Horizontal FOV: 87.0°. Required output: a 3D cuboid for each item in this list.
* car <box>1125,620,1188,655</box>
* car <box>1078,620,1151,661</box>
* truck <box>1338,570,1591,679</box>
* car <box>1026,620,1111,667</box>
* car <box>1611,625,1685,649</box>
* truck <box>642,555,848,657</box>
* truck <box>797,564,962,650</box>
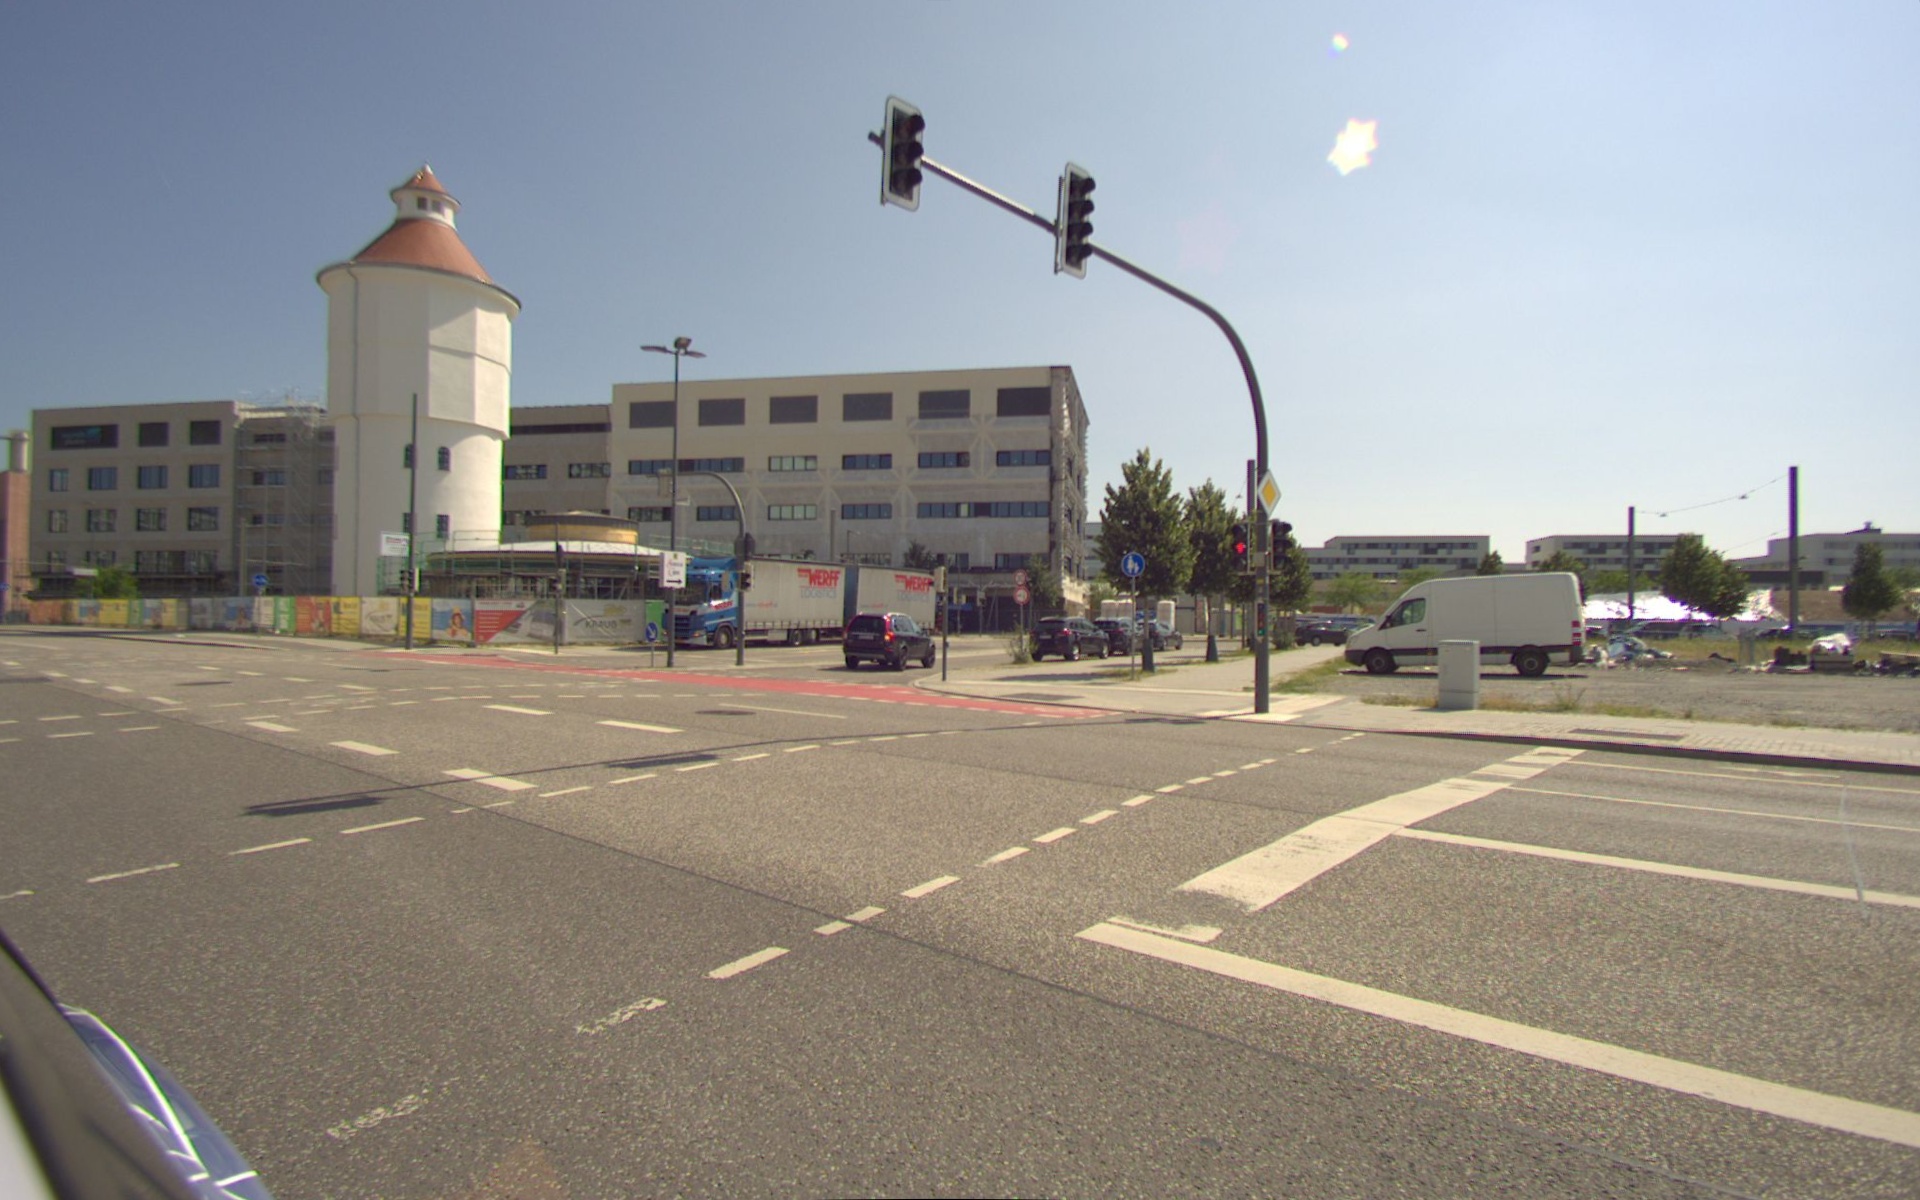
[{"bbox_3d":[9.558,1.796,49.019,1.872,1.542,3.864,-3,-2,29],"label":"car"},{"bbox_3d":[6.723,1.707,43.702,1.873,1.652,3.961,0,-1,29],"label":"car"},{"bbox_3d":[13.521,0.616,27.291,5.927,2.675,2.149,0,-1,33],"label":"truck"},{"bbox_3d":[4.219,1.614,38.881,1.873,1.652,3.961,0,-1,29],"label":"car"},{"bbox_3d":[49.255,2.635,72.507,3.956,1.700,1.818,0,0,11],"label":"car"},{"bbox_3d":[-9.475,0.174,46.529,3.285,4.098,10.883,1,1,26],"label":"truck"},{"bbox_3d":[-4.143,0.275,55.957,3.334,4.307,10.831,1,1,32],"label":"truck"}]
